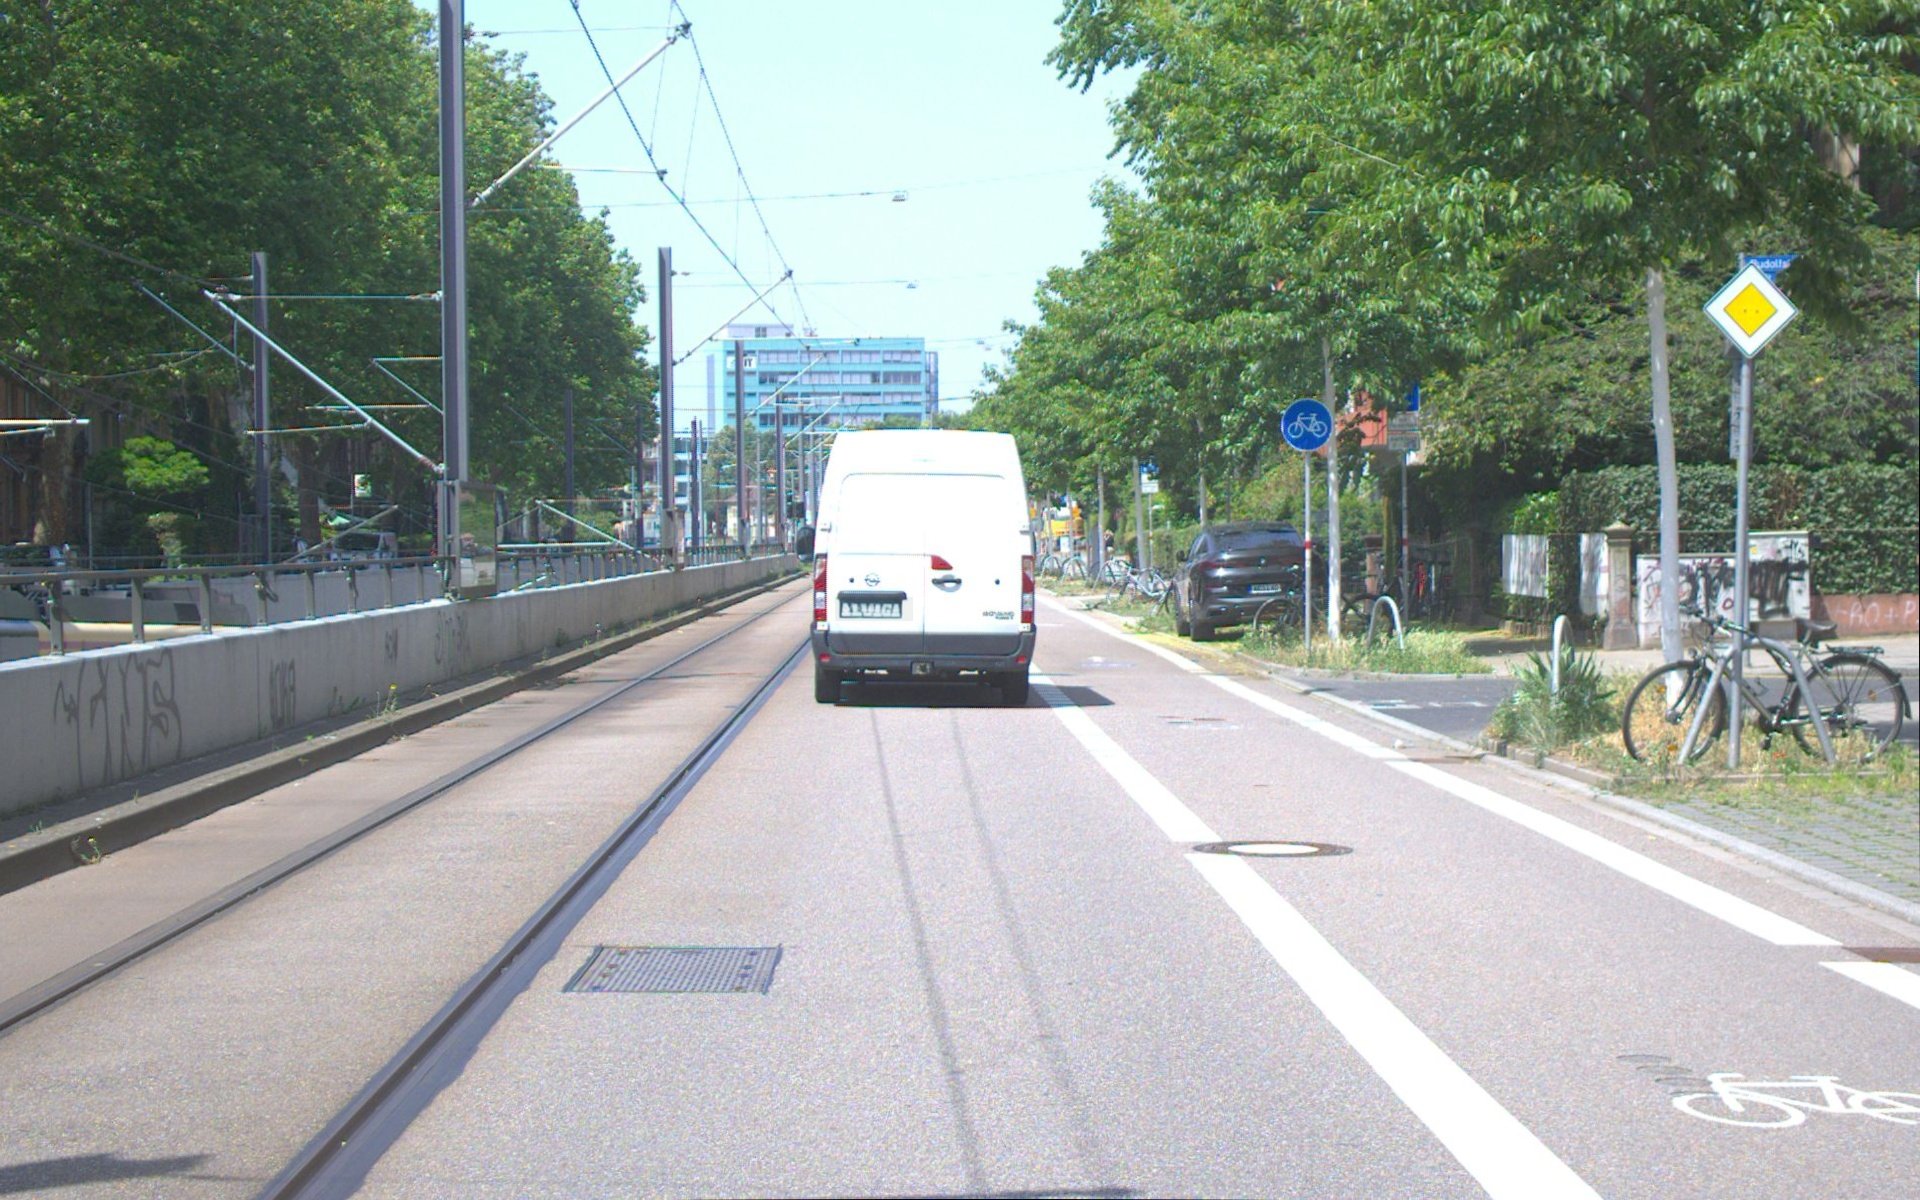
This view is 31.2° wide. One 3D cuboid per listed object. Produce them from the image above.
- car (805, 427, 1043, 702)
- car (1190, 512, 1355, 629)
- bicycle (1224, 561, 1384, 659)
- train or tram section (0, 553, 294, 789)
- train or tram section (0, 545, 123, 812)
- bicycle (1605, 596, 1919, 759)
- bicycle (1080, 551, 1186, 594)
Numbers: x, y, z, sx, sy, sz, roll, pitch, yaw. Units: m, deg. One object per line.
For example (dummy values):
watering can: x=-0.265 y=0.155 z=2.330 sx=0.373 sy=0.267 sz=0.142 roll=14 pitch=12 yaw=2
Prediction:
car: x=-0.357 y=-0.367 z=33.182 sx=2.117 sy=2.450 sz=5.055 roll=0 pitch=1 yaw=-1
car: x=4.564 y=-0.462 z=50.706 sx=2.157 sy=1.664 sz=4.000 roll=0 pitch=1 yaw=1
bicycle: x=4.220 y=0.120 z=42.247 sx=1.887 sy=1.178 sz=0.640 roll=0 pitch=1 yaw=-2
train or tram section: x=-10.552 y=0.708 z=42.588 sx=2.729 sy=2.500 sz=10.090 roll=0 pitch=1 yaw=-1
train or tram section: x=-10.472 y=0.744 z=33.281 sx=2.729 sy=2.500 sz=8.491 roll=0 pitch=1 yaw=-1
bicycle: x=4.887 y=0.467 z=20.863 sx=1.842 sy=0.950 sz=0.503 roll=-1 pitch=1 yaw=1
bicycle: x=3.593 y=-0.577 z=70.787 sx=1.560 sy=0.823 sz=3.998 roll=0 pitch=1 yaw=12
